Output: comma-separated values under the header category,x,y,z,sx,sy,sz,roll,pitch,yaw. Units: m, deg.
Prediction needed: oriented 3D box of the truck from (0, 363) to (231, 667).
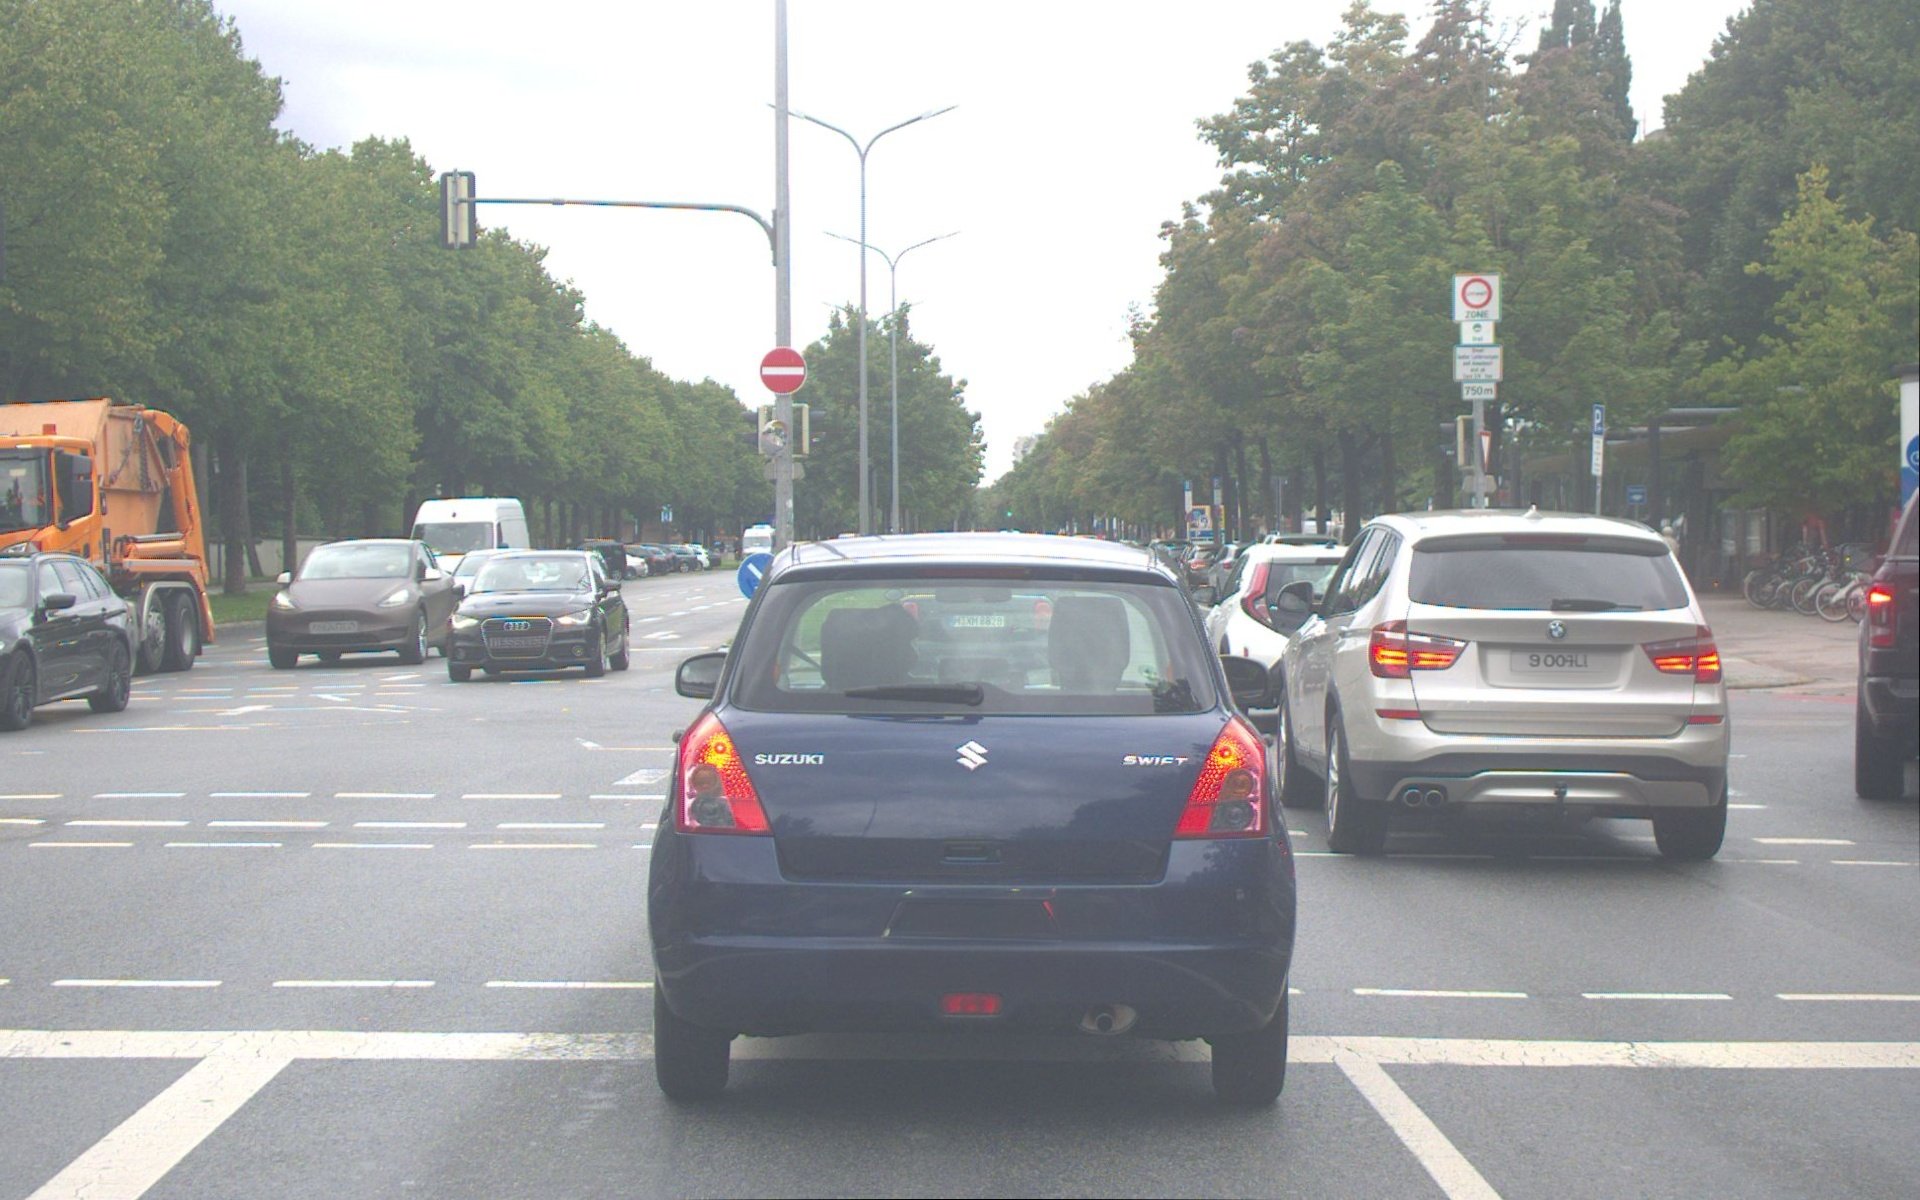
category,x,y,z,sx,sy,sz,roll,pitch,yaw
truck,-11.116,-0.985,41.553,2.780,3.344,7.266,0,1,3

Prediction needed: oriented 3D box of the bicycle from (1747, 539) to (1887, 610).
category,x,y,z,sx,sy,sz,roll,pitch,yaw
bicycle,15.321,-0.460,61.495,2.338,1.153,0.529,-2,1,0

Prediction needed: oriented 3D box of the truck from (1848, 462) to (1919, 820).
category,x,y,z,sx,sy,sz,roll,pitch,yaw
truck,6.842,0.179,21.860,2.100,2.007,5.808,0,1,17

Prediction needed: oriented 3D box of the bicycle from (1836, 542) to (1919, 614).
category,x,y,z,sx,sy,sz,roll,pitch,yaw
bicycle,16.193,-0.404,58.573,2.338,1.153,0.585,-2,1,0

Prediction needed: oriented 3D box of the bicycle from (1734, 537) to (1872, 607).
category,x,y,z,sx,sy,sz,roll,pitch,yaw
bicycle,15.351,-0.511,62.596,2.338,1.153,0.529,-2,1,0

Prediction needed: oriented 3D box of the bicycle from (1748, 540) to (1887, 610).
category,x,y,z,sx,sy,sz,roll,pitch,yaw
bicycle,15.467,-0.460,62.045,2.338,1.153,0.529,-2,1,0

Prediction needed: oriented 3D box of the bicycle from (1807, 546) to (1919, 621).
category,x,y,z,sx,sy,sz,roll,pitch,yaw
bicycle,14.497,-0.266,54.916,1.807,1.138,0.567,-2,1,10

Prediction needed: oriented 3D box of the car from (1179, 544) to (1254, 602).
category,x,y,z,sx,sy,sz,roll,pitch,yaw
car,6.837,-0.741,92.007,1.717,1.503,4.224,0,1,0

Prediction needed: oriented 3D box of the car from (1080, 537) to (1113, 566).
category,x,y,z,sx,sy,sz,roll,pitch,yaw
car,7.462,-2.655,188.036,1.684,1.520,4.456,1,1,1

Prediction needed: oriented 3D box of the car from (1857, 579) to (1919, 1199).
category,x,y,z,sx,sy,sz,roll,pitch,yaw
car,2.767,0.711,5.497,1.622,1.449,3.950,0,1,0

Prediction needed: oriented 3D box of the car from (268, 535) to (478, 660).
category,x,y,z,sx,sy,sz,roll,pitch,yaw
car,-7.571,-0.070,44.766,1.862,1.536,4.749,0,1,1

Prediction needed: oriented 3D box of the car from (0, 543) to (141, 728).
category,x,y,z,sx,sy,sz,roll,pitch,yaw
car,-8.588,0.276,29.572,1.926,1.457,4.899,-2,1,-1

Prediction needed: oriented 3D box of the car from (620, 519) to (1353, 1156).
category,x,y,z,sx,sy,sz,roll,pitch,yaw
car,0.027,0.545,10.400,1.789,1.550,4.000,0,1,-1

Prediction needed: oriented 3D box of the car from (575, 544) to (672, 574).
category,x,y,z,sx,sy,sz,roll,pitch,yaw
car,-15.402,-1.881,157.362,3.987,1.349,1.851,-1,1,-34

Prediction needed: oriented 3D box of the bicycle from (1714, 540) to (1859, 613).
category,x,y,z,sx,sy,sz,roll,pitch,yaw
bicycle,14.332,-0.413,59.631,2.338,1.153,0.585,-2,1,0

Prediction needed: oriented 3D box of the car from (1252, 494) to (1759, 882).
category,x,y,z,sx,sy,sz,roll,pitch,yaw
car,2.625,0.358,17.483,1.850,1.737,4.098,0,1,-1

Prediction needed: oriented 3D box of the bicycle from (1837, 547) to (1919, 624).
category,x,y,z,sx,sy,sz,roll,pitch,yaw
bicycle,14.619,-0.236,53.459,1.806,1.138,0.567,-2,1,-11

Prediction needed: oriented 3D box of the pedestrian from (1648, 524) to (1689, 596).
category,x,y,z,sx,sy,sz,roll,pitch,yaw
pedestrian,14.862,-0.844,72.156,0.578,1.508,0.694,0,1,-18

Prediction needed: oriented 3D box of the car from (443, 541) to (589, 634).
category,x,y,z,sx,sy,sz,roll,pitch,yaw
car,-7.394,-0.238,57.660,1.727,1.482,4.742,0,1,1

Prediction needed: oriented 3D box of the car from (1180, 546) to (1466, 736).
category,x,y,z,sx,sy,sz,roll,pitch,yaw
car,2.919,0.280,28.421,1.850,1.442,4.098,0,1,-1

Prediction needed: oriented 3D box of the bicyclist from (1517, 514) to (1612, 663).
category,x,y,z,sx,sy,sz,roll,pitch,yaw
bicyclist,7.225,-0.140,41.082,0.825,1.758,0.746,-1,1,-35

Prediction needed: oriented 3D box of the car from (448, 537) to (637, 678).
category,x,y,z,sx,sy,sz,roll,pitch,yaw
car,-4.602,0.050,38.341,1.639,1.482,3.781,0,1,0

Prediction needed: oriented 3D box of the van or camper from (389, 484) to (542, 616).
category,x,y,z,sx,sy,sz,roll,pitch,yaw
van or camper,-10.585,-1.097,74.106,2.178,2.638,6.951,-2,1,0

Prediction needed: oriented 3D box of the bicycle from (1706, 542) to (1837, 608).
category,x,y,z,sx,sy,sz,roll,pitch,yaw
bicycle,15.574,-0.489,66.003,2.338,1.153,0.529,-2,1,0

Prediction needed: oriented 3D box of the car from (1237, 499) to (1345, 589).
category,x,y,z,sx,sy,sz,roll,pitch,yaw
car,6.659,-1.152,69.517,1.747,1.718,4.906,1,1,1
